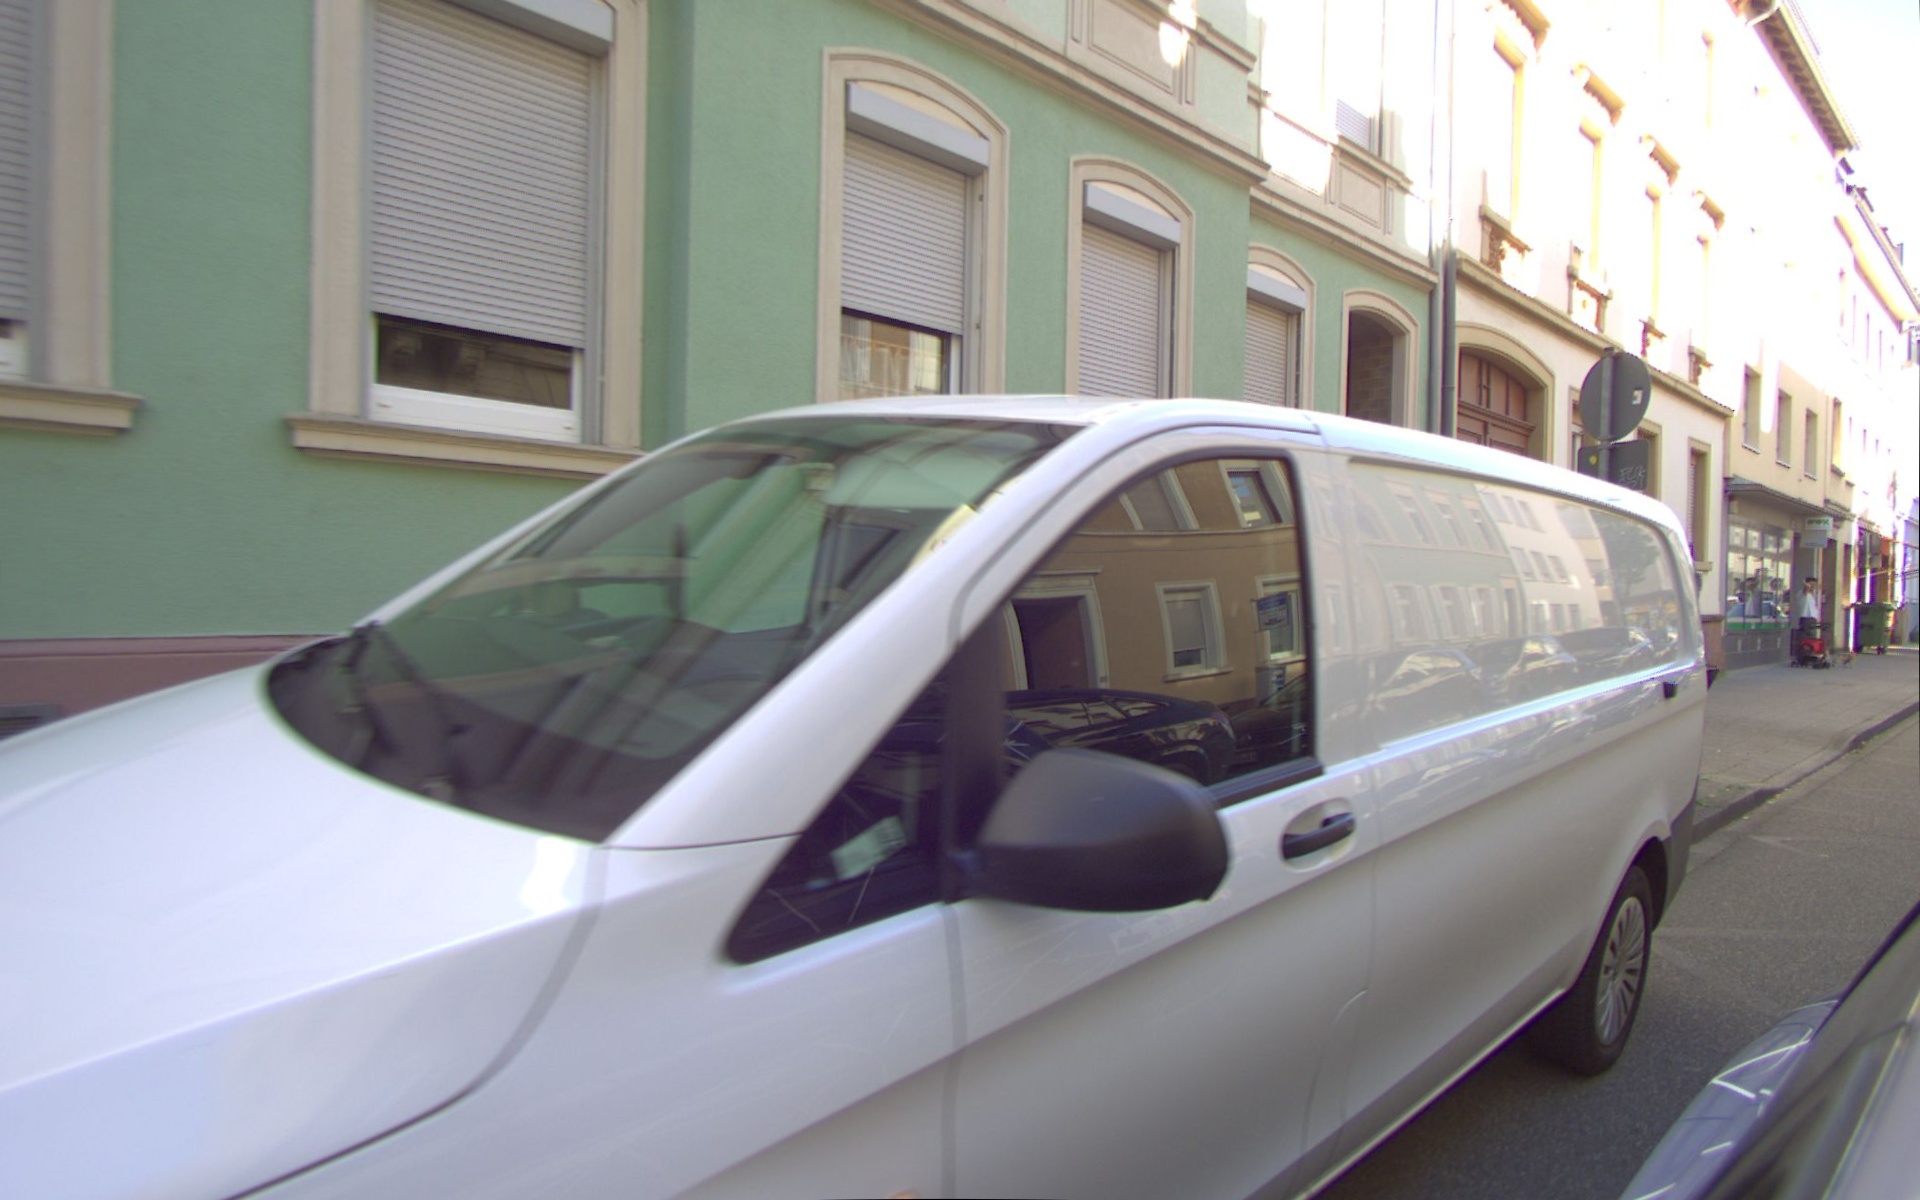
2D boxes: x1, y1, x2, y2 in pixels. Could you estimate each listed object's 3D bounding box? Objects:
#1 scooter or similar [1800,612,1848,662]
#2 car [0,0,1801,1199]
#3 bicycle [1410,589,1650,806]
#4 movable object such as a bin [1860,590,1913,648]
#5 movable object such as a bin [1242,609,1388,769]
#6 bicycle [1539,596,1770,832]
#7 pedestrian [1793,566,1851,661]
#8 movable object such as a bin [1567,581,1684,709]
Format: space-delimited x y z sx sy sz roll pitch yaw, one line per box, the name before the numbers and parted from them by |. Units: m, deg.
scooter or similar | 17.219 0.738 20.162 0.851 0.956 0.492 2 1 -34
car | 0.467 0.402 2.863 5.502 1.906 1.988 0 5 -41
bicycle | 3.988 0.594 6.996 2.158 1.286 0.577 0 3 -37
movable object such as a bin | 24.256 0.480 26.484 1.347 1.454 0.748 0 3 -39
movable object such as a bin | 2.703 0.641 7.730 0.661 1.102 0.814 0 1 -38
bicycle | 4.644 0.665 6.703 2.158 1.337 0.576 1 2 -37
pedestrian | 17.816 0.265 20.931 0.644 1.883 0.742 4 2 27
movable object such as a bin | 8.136 0.506 12.360 1.275 1.406 0.839 -2 5 -42
